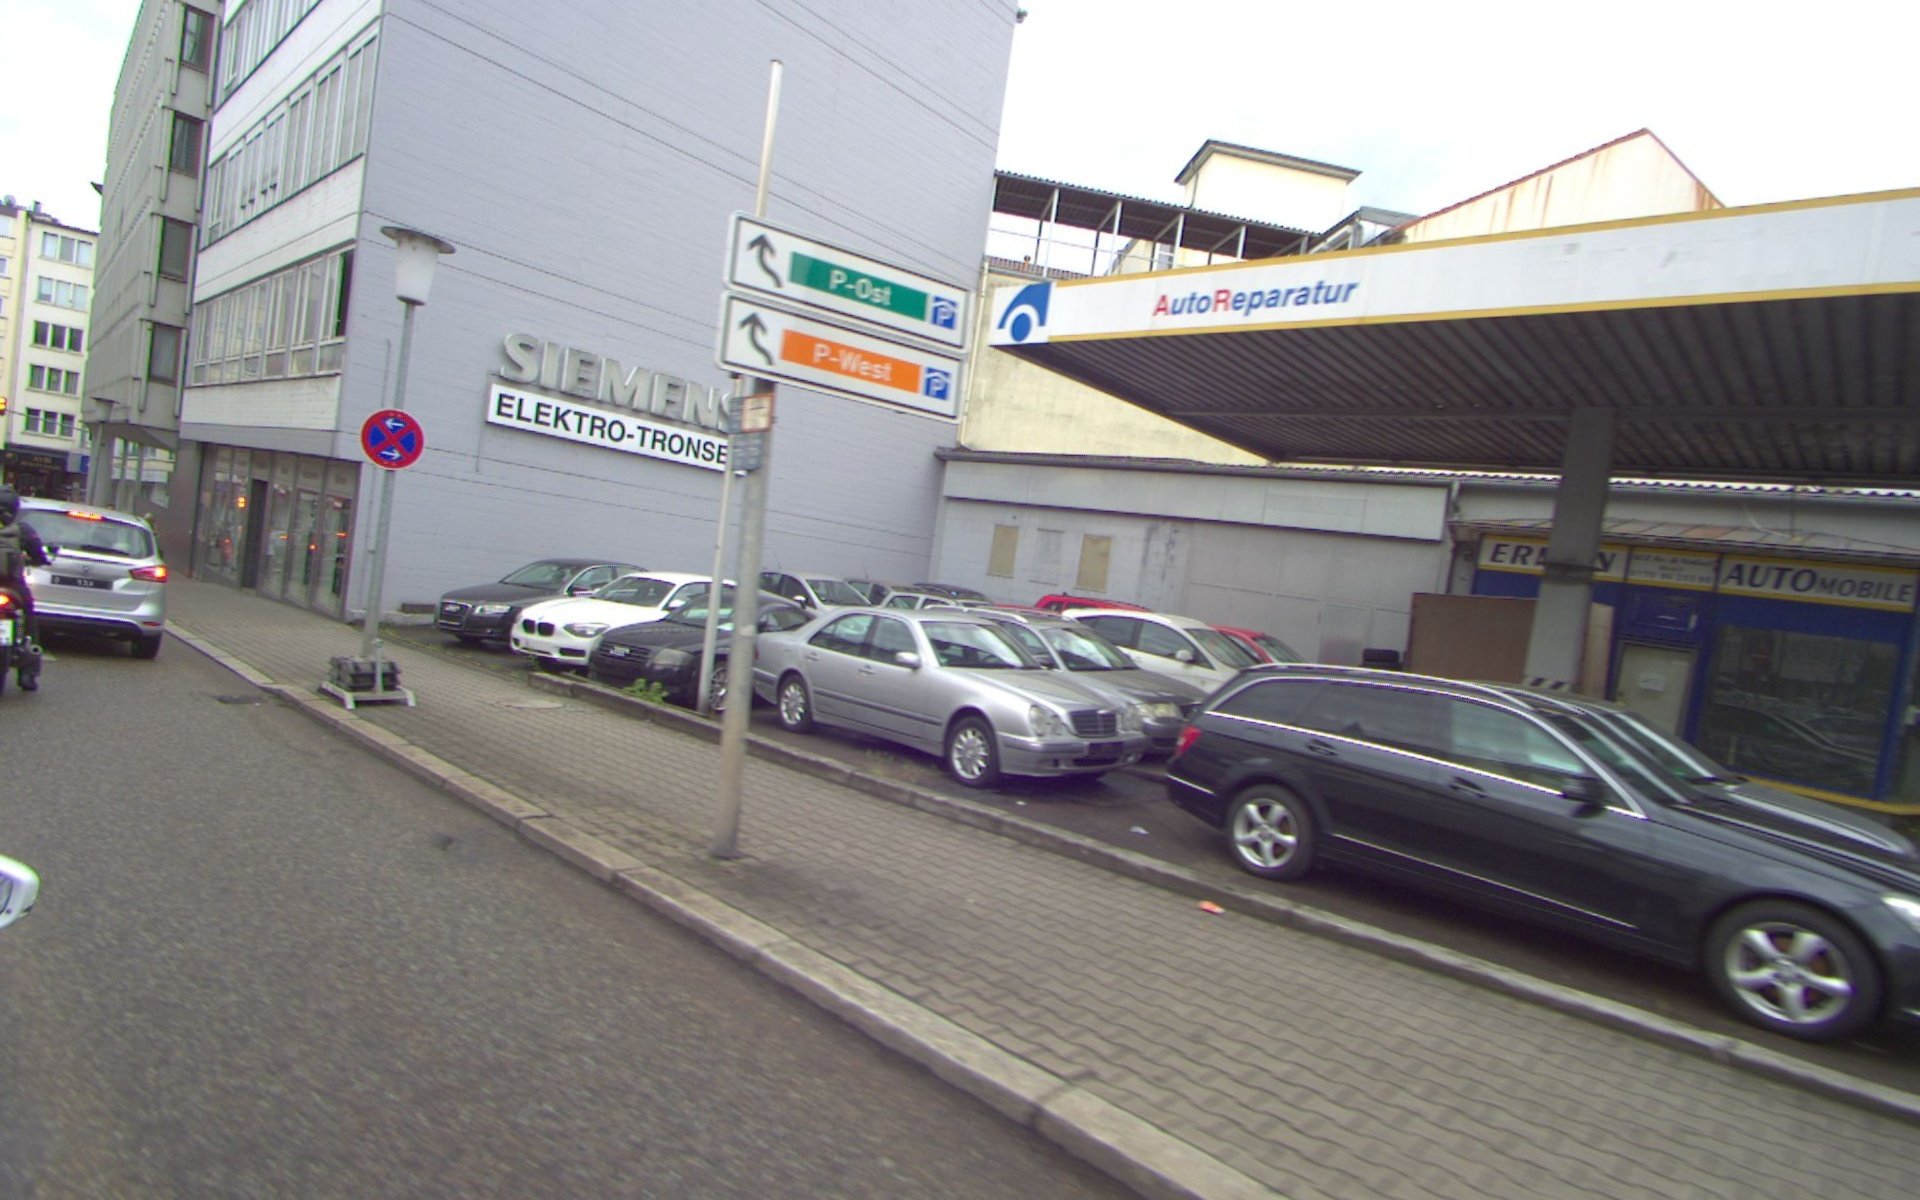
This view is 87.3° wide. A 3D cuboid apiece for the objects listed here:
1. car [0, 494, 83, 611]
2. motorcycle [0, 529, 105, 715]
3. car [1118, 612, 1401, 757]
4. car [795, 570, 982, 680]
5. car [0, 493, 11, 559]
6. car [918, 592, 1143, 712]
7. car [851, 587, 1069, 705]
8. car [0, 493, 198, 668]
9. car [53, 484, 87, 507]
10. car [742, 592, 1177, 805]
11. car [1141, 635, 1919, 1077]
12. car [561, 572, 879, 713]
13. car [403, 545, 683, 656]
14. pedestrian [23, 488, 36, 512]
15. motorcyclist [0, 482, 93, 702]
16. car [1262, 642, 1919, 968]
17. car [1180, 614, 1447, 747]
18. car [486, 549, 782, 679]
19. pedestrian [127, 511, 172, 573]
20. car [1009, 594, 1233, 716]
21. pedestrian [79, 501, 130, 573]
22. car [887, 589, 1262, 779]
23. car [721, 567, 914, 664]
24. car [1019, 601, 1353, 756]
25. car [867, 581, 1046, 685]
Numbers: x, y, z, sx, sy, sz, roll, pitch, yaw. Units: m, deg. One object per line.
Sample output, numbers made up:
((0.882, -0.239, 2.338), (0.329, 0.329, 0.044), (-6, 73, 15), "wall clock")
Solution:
((-15.497, -0.903, 15.679), (4.138, 1.577, 1.825), (6, -3, 37), "car")
((-7.546, 0.080, 7.810), (2.339, 1.239, 0.845), (6, -3, 39), "motorcycle")
((4.760, 1.305, 16.336), (1.784, 1.751, 3.899), (7, 0, -45), "car")
((-1.617, 0.506, 21.875), (1.784, 1.922, 3.899), (7, 0, -45), "car")
((-27.070, -2.205, 27.025), (4.446, 1.713, 1.896), (6, -4, 44), "car")
((1.242, 0.944, 19.013), (1.784, 1.751, 3.899), (7, 0, -45), "car")
((-0.067, 0.745, 17.496), (1.782, 1.621, 3.474), (4, 2, -45), "car")
((-10.547, -0.336, 11.596), (4.192, 1.557, 1.827), (6, -4, 41), "car")
((-78.573, -9.229, 88.863), (1.787, 1.691, 3.960), (6, 0, -37), "car")
((-0.239, 0.861, 10.418), (1.782, 1.433, 4.559), (6, 0, -43), "car")
((3.548, 1.259, 6.362), (1.784, 1.530, 4.381), (7, -1, -45), "car")
((-2.931, 0.603, 13.149), (1.643, 1.418, 3.994), (7, -1, 30), "car")
((-6.676, 0.001, 16.546), (1.767, 1.470, 3.990), (6, 3, 27), "car")
((-71.775, -7.728, 77.577), (0.561, 1.712, 0.746), (6, 7, -39), "pedestrian")
((-7.504, -0.098, 7.806), (0.949, 1.607, 0.845), (7, -2, 39), "motorcyclist")
((5.072, 1.403, 8.568), (1.781, 1.533, 4.361), (2, 4, -45), "car")
((6.093, 1.354, 17.642), (1.784, 1.751, 3.899), (7, 0, -45), "car")
((-4.659, 0.296, 14.992), (1.733, 1.548, 3.995), (7, -1, 28), "car")
((-21.735, -1.553, 26.978), (0.878, 1.571, 0.763), (6, 2, 41), "pedestrian")
((3.177, 1.067, 20.373), (1.784, 1.934, 4.053), (7, 0, -45), "car")
((-21.705, -1.598, 25.508), (1.105, 1.728, 0.782), (6, 2, 41), "pedestrian")
((1.244, 0.876, 12.573), (1.781, 1.566, 4.433), (2, 5, -45), "car")
((-2.947, 0.276, 20.225), (1.782, 1.542, 3.899), (4, 2, -45), "car")
((3.157, 1.069, 14.727), (1.784, 1.620, 4.362), (7, -1, -45), "car")
((-0.155, 0.723, 23.465), (1.784, 1.934, 3.899), (7, 0, -45), "car")
